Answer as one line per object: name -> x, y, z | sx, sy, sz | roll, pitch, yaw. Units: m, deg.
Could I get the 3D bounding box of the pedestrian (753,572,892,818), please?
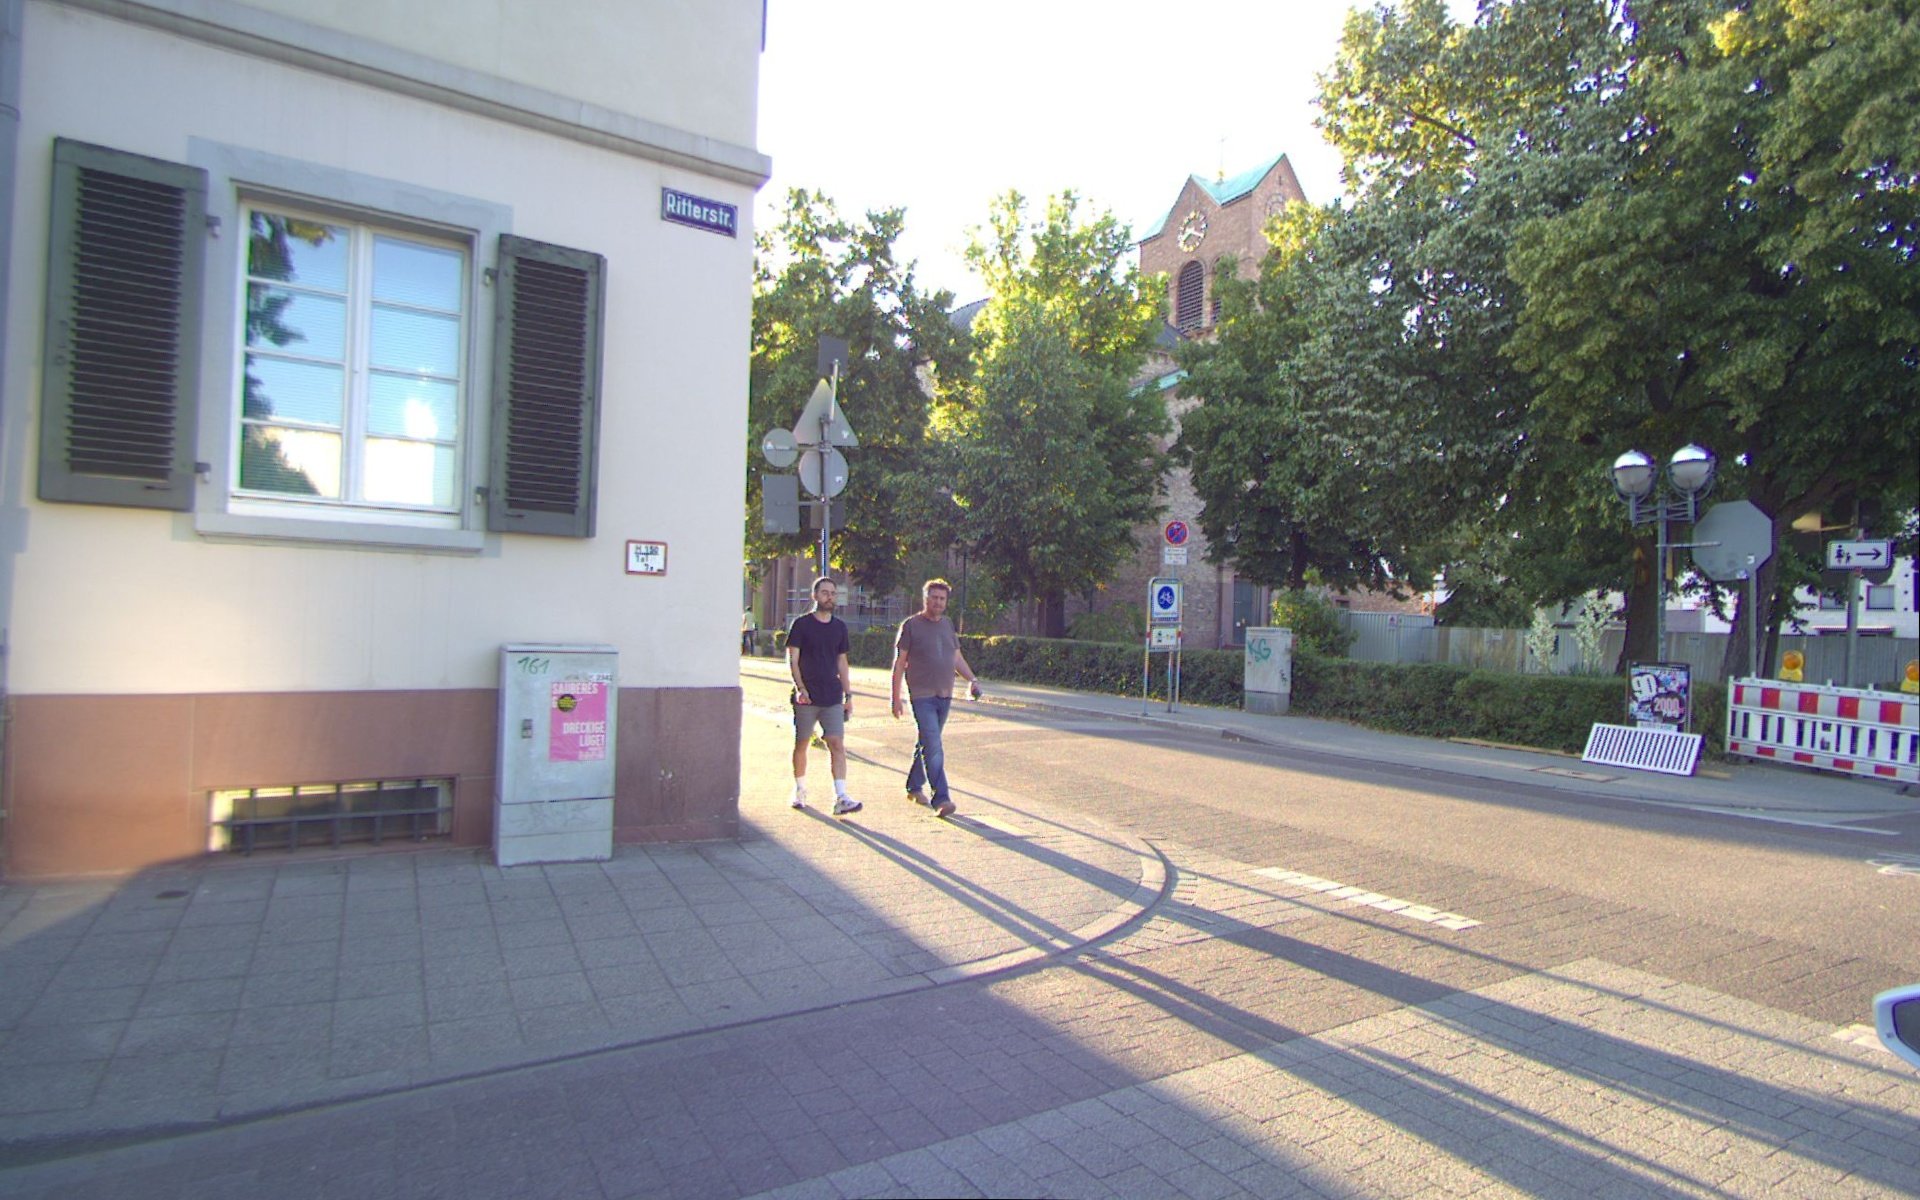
pedestrian -> -1.029, 0.679, 7.485 | 0.787, 1.711, 0.651 | 3, -2, -31

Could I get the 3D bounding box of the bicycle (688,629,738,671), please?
bicycle -> -7.007, 1.406, 28.442 | 0.591, 1.136, 1.911 | 3, -2, -39

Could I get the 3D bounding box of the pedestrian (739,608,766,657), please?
pedestrian -> -7.990, 1.251, 38.643 | 0.786, 1.849, 0.651 | 2, -2, -29

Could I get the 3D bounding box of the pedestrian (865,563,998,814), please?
pedestrian -> -0.225, 0.670, 7.853 | 0.787, 1.838, 0.651 | 3, -2, -31

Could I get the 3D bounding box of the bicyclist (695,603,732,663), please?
bicyclist -> -6.992, 0.939, 28.477 | 0.591, 1.654, 1.052 | 3, -2, -39

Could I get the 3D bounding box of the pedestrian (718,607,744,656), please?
pedestrian -> -8.736, 1.212, 38.343 | 0.786, 1.837, 0.651 | 2, -2, -29
